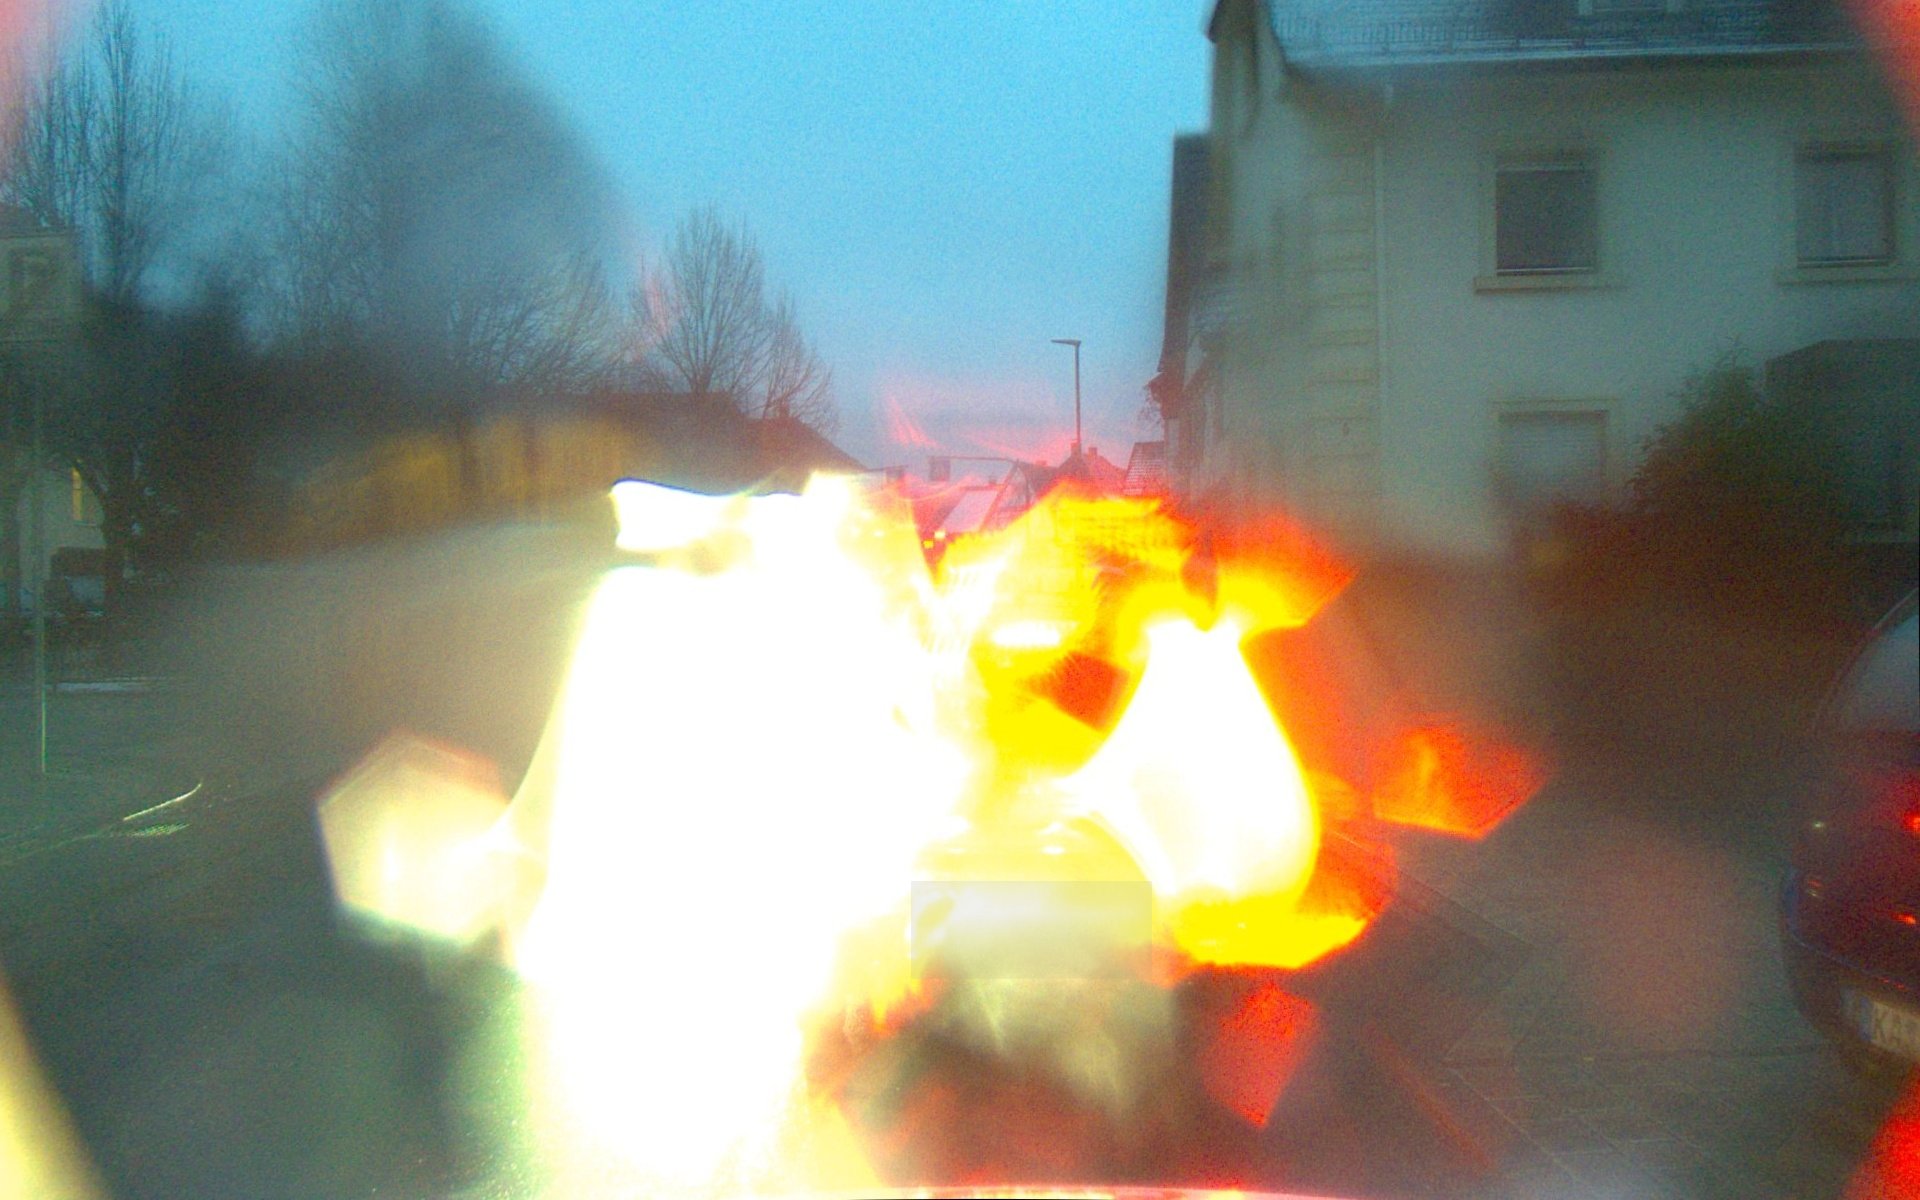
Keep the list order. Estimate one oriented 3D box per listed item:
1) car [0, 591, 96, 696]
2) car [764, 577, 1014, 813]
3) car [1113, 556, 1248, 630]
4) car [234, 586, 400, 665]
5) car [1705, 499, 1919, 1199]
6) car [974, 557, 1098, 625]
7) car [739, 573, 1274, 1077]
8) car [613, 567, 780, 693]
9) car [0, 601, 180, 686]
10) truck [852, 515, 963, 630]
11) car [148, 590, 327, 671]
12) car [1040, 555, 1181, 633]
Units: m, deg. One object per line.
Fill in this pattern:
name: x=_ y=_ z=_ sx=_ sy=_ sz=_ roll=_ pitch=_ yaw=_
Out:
car: x=-19.828 y=0.839 z=33.607 sx=3.903 sy=2.023 sz=1.820 roll=0 pitch=1 yaw=19
car: x=-0.521 y=0.588 z=12.262 sx=1.605 sy=1.507 sz=3.270 roll=0 pitch=1 yaw=-3
car: x=6.733 y=-0.227 z=50.657 sx=4.010 sy=2.189 sz=1.915 roll=0 pitch=1 yaw=6
car: x=-17.320 y=0.657 z=44.577 sx=3.903 sy=2.033 sz=1.820 roll=0 pitch=1 yaw=19
car: x=4.035 y=0.528 z=3.928 sx=3.795 sy=1.607 sz=1.680 roll=-2 pitch=0 yaw=-6
car: x=2.554 y=-0.312 z=55.288 sx=4.010 sy=2.189 sz=1.915 roll=0 pitch=1 yaw=6
car: x=0.120 y=0.666 z=6.652 sx=1.604 sy=1.507 sz=3.378 roll=0 pitch=0 yaw=-1
car: x=-3.675 y=0.357 z=23.814 sx=1.774 sy=1.624 sz=4.398 roll=-1 pitch=1 yaw=-1
car: x=-19.418 y=0.925 z=36.410 sx=3.903 sy=1.760 sz=1.820 roll=0 pitch=1 yaw=19
truck: x=-1.711 y=-0.815 z=49.924 sx=2.956 sy=3.183 sz=7.993 roll=0 pitch=1 yaw=-5
car: x=-18.201 y=0.748 z=41.690 sx=3.903 sy=1.944 sz=1.820 roll=0 pitch=1 yaw=19
car: x=4.404 y=-0.173 z=48.340 sx=4.010 sy=2.200 sz=1.915 roll=0 pitch=1 yaw=6
